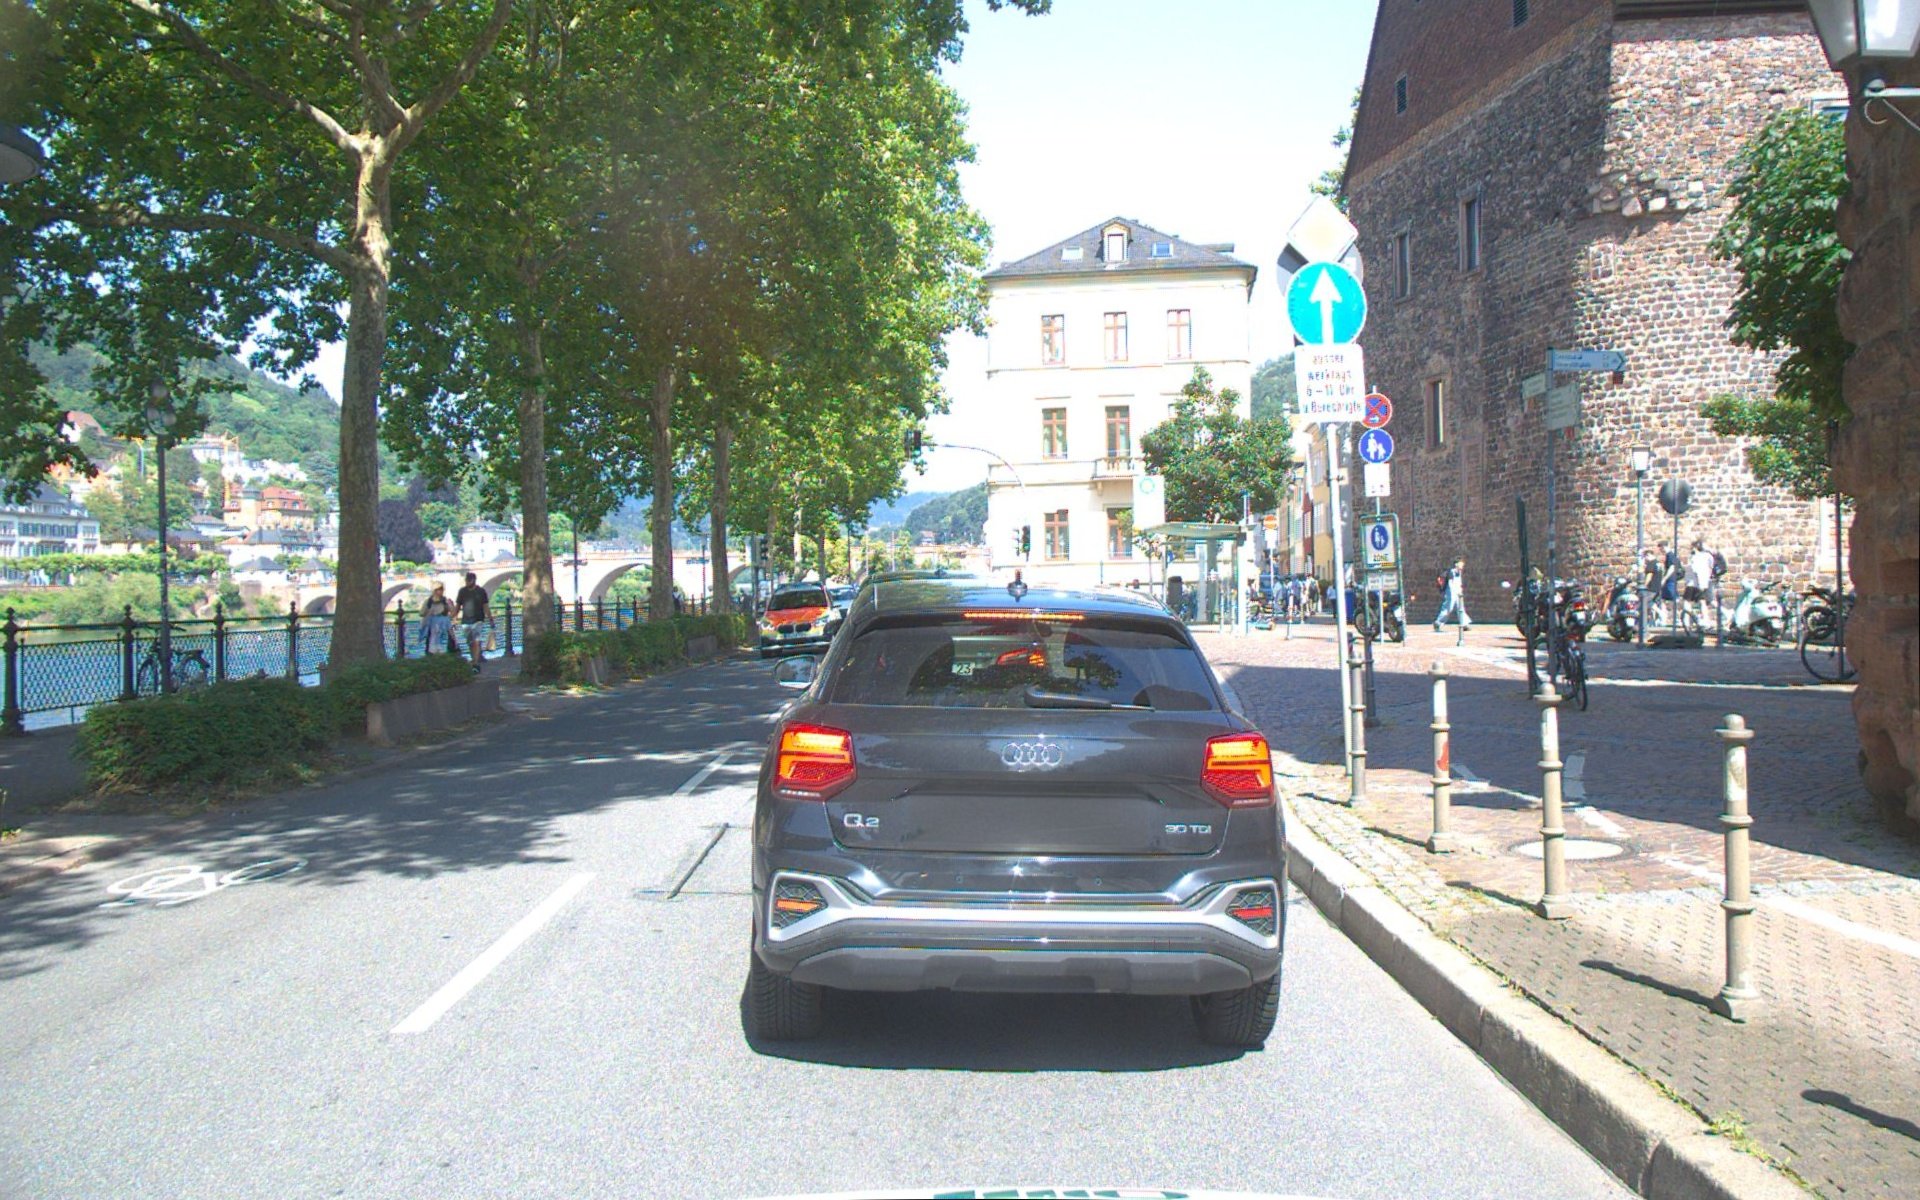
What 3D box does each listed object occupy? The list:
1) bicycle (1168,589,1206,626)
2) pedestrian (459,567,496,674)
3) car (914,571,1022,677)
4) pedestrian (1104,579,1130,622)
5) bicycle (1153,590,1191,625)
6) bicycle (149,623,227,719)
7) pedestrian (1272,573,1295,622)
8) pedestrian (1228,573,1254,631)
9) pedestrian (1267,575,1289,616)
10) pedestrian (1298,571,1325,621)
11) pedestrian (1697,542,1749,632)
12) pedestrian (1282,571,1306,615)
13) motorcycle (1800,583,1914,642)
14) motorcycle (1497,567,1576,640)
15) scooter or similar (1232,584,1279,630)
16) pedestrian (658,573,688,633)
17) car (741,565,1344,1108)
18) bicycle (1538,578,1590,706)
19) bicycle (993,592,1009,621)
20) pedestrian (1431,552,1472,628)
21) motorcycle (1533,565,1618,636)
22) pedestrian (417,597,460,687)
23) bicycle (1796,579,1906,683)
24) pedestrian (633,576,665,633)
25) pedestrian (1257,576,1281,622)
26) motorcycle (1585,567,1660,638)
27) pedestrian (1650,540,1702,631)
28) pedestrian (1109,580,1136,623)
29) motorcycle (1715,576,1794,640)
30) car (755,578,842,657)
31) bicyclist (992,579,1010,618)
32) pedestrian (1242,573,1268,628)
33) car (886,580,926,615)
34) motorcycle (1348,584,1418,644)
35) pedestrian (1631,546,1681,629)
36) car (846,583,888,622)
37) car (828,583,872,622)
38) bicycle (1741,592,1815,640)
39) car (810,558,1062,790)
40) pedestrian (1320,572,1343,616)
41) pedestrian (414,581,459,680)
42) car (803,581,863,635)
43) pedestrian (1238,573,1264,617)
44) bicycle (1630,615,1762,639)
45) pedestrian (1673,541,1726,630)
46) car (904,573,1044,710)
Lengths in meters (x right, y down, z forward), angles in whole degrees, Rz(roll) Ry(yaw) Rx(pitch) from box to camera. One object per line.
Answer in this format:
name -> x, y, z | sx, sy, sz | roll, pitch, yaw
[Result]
bicycle -> 6.733, 0.225, 49.053 | 1.184, 1.053, 0.178 | 1, -1, -20
pedestrian -> -8.716, 0.366, 29.888 | 0.523, 1.920, 0.436 | 1, 0, -1
car -> 0.101, 0.383, 29.113 | 1.758, 1.711, 3.999 | 1, 0, -1
pedestrian -> 4.638, 0.008, 48.936 | 0.651, 1.253, 0.640 | 1, -1, -7
bicycle -> 6.373, 0.214, 49.639 | 1.166, 1.033, 0.178 | 1, -1, -20
bicycle -> -9.534, 0.863, 20.460 | 0.352, 1.110, 1.295 | 2, 0, -2
pedestrian -> 13.668, -0.093, 69.899 | 0.822, 2.049, 0.738 | 1, -1, -1
pedestrian -> 9.471, 0.080, 55.772 | 0.732, 1.923, 0.752 | 1, -1, 1
pedestrian -> 12.376, -0.181, 64.374 | 0.760, 1.591, 0.646 | -2, 0, 4
pedestrian -> 14.735, -0.171, 69.367 | 0.921, 2.049, 0.807 | 1, -1, 0
pedestrian -> 16.883, -0.280, 36.601 | 0.661, 1.954, 0.813 | 1, -1, -28
pedestrian -> 12.777, -0.261, 63.290 | 0.760, 1.649, 0.645 | -2, 0, 1
motorcycle -> 16.943, 0.238, 31.265 | 1.826, 1.072, 0.480 | 1, -1, 7
motorcycle -> 10.507, 0.063, 30.242 | 0.642, 1.288, 2.199 | 0, 0, -1
scooter or similar -> 7.062, 0.168, 39.547 | 1.067, 1.084, 0.323 | 1, -1, -3
pedestrian -> -9.917, 0.108, 57.113 | 0.891, 2.049, 0.586 | 1, -1, 3
car -> 0.214, 0.661, 6.575 | 1.707, 1.535, 3.646 | 1, 1, -1
bicycle -> 6.141, 0.398, 16.846 | 0.189, 1.225, 1.771 | 0, 1, 10
bicycle -> 1.557, 0.250, 62.568 | 0.428, 1.105, 1.675 | 1, 0, -5
pedestrian -> 11.076, -0.231, 37.288 | 0.791, 1.691, 0.656 | -1, 0, 23
motorcycle -> 11.371, 0.014, 30.636 | 0.661, 1.257, 2.312 | 1, 0, -1
pedestrian -> -8.182, 0.656, 25.965 | 0.469, 1.386, 0.417 | -2, 0, 3
bicycle -> 10.620, 0.342, 19.763 | 0.437, 1.182, 1.731 | -1, 1, 3
pedestrian -> -10.297, 0.145, 54.760 | 0.891, 1.843, 0.586 | 1, -1, 3
pedestrian -> 13.857, -0.057, 74.203 | 0.925, 2.049, 0.807 | 1, -1, -1
motorcycle -> 12.262, 0.049, 30.654 | 0.535, 1.257, 2.030 | 1, 0, -1
pedestrian -> 16.408, -0.333, 37.887 | 0.726, 2.049, 0.865 | 1, -1, -41
pedestrian -> 4.724, 0.031, 48.175 | 0.651, 1.233, 0.640 | 1, -1, -7
motorcycle -> 14.152, 0.138, 29.515 | 0.496, 1.092, 1.839 | 1, 0, -1
car -> -3.802, 0.372, 39.480 | 1.639, 1.689, 4.222 | -3, 0, -1
bicyclist -> 1.563, -0.051, 62.573 | 0.593, 1.475, 0.590 | 1, -1, -6
pedestrian -> 7.613, 0.013, 42.688 | 0.546, 1.409, 0.588 | 1, -1, 1
car -> -2.937, -0.135, 90.430 | 1.952, 1.838, 4.000 | 1, 0, 1
motorcycle -> 7.694, 0.231, 30.177 | 0.555, 1.030, 2.489 | -1, 1, -2
pedestrian -> 15.659, -0.285, 37.209 | 0.647, 1.834, 0.836 | 0, 0, -36
car -> -4.697, 0.083, 84.274 | 1.777, 1.754, 4.421 | -6, 1, -1
car -> -4.991, 0.080, 75.330 | 1.703, 1.599, 4.091 | -4, 1, -1
bicycle -> 15.126, 0.289, 30.621 | 0.346, 0.835, 1.926 | 1, 1, -2
car -> -0.194, 0.513, 13.447 | 1.756, 1.623, 3.398 | 1, 0, -1
pedestrian -> 14.087, -0.231, 62.744 | 0.676, 1.640, 0.891 | -2, 0, 20
pedestrian -> -9.250, 0.533, 29.256 | 0.589, 1.715, 0.583 | -1, 0, -2
car -> -4.249, 0.252, 55.805 | 1.733, 1.689, 3.999 | -3, 0, -1
pedestrian -> 10.010, -0.179, 56.982 | 0.626, 1.469, 0.797 | -2, 0, -7
bicycle -> 12.310, 0.454, 27.720 | 1.887, 0.388, 0.918 | 0, -1, 14
pedestrian -> 16.208, -0.307, 36.259 | 0.660, 1.917, 0.814 | 1, -1, -27
car -> 0.138, 0.479, 21.628 | 1.676, 1.637, 3.654 | 0, 0, -1
